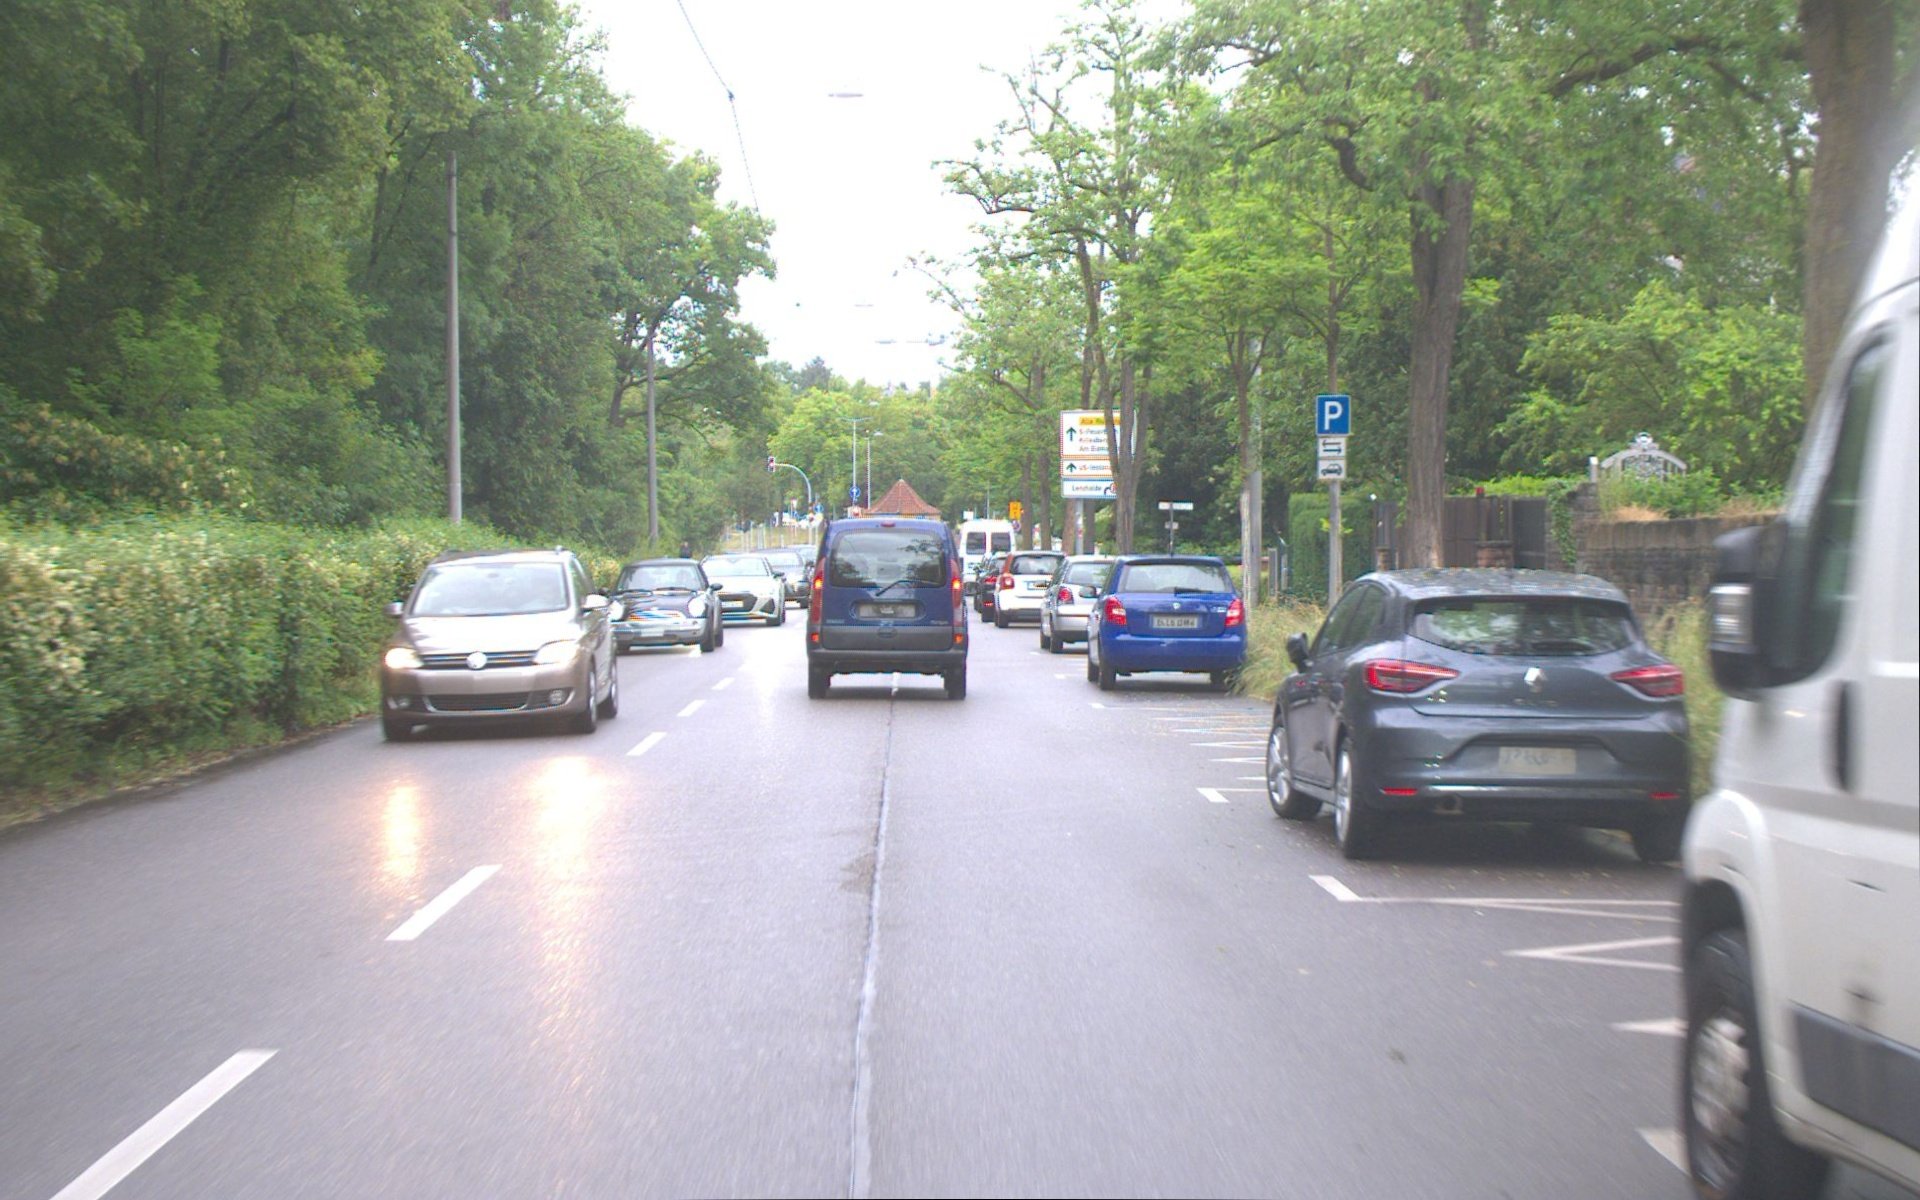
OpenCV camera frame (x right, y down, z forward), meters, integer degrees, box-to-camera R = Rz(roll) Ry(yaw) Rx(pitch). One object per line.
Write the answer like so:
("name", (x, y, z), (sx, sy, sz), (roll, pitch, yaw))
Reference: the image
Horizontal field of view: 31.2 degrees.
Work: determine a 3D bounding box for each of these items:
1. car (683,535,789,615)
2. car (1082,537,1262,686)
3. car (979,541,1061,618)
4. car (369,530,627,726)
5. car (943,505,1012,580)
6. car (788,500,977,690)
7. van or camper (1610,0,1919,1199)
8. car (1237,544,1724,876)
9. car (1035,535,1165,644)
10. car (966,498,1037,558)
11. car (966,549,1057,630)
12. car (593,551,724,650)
("car", (-4.548, -0.537, 70.418), (1.856, 1.463, 4.447), (-3, 2, 0))
("car", (2.341, 0.089, 38.888), (1.721, 1.500, 4.050), (1, 2, 0))
("car", (1.311, -0.465, 74.373), (1.698, 1.519, 3.867), (1, 2, 2))
("car", (-3.919, 0.186, 29.708), (1.729, 1.487, 4.001), (-1, 2, -1))
("car", (0.577, -1.940, 115.840), (2.205, 2.441, 4.730), (0, 1, -1))
("car", (-0.853, -0.095, 35.685), (1.766, 1.824, 3.543), (1, 2, -4))
("van or camper", (2.736, 0.109, 5.868), (2.078, 2.641, 5.347), (1, 2, -1))
("car", (2.620, 0.489, 18.213), (1.740, 1.474, 3.964), (1, 2, -3))
("car", (2.082, -0.185, 51.969), (1.618, 1.503, 3.835), (1, 2, -2))
("car", (1.073, -1.903, 90.622), (1.698, 1.519, 3.868), (1, 1, -2))
("car", (1.006, -0.224, 68.308), (1.632, 1.504, 2.958), (1, 2, -2))
("car", (-4.595, -0.020, 52.792), (1.686, 1.351, 3.724), (-2, 2, -1))
